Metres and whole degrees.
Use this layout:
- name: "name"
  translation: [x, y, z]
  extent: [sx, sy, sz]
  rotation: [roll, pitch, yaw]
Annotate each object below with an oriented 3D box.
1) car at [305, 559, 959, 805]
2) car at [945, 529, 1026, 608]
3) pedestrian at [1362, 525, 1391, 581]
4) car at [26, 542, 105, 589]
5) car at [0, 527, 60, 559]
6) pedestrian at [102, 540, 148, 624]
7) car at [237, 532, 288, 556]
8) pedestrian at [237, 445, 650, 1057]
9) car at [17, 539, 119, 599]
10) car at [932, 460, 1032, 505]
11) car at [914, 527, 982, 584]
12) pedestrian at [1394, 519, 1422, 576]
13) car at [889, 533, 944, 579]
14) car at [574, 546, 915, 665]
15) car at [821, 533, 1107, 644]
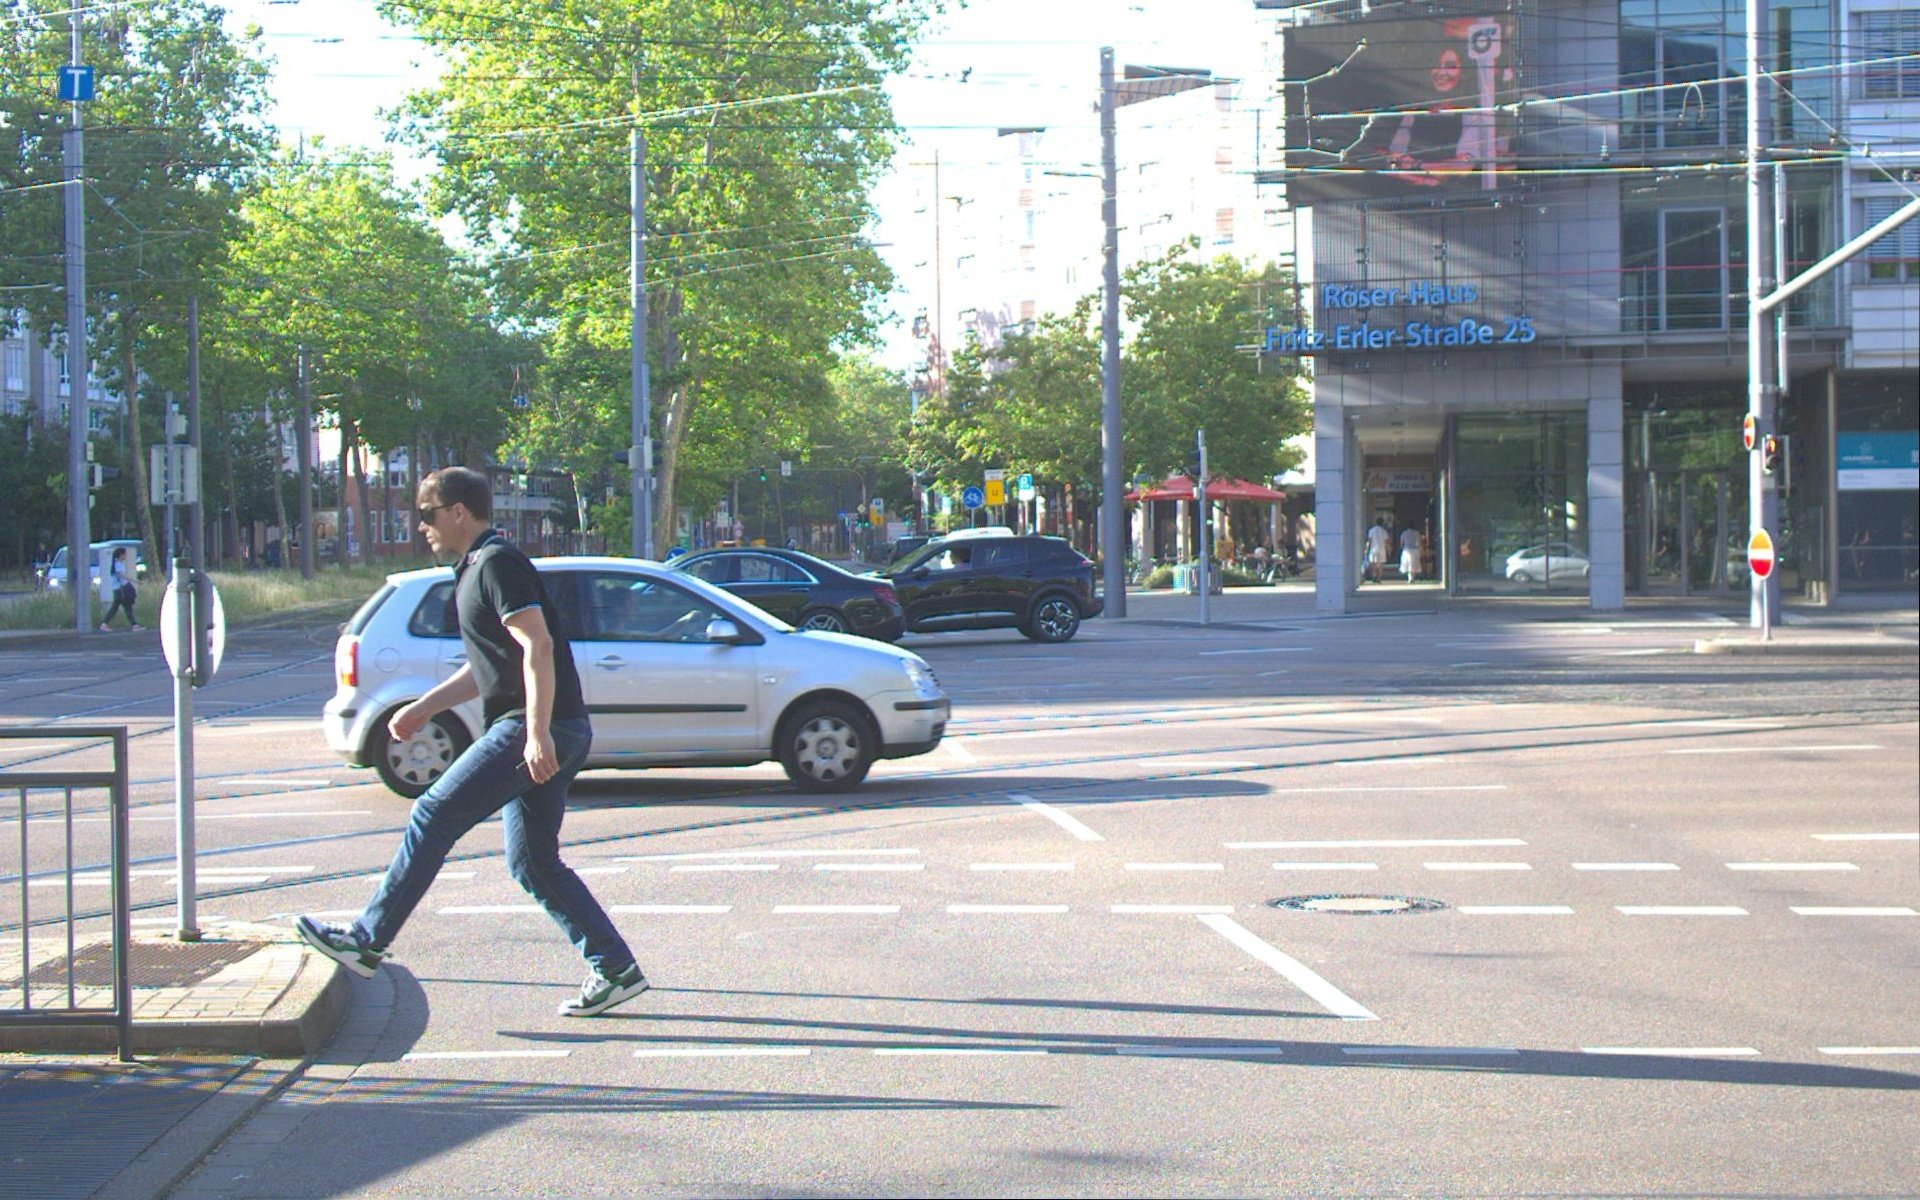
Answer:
- name: "car"
  translation: [-2.025, 0.477, 21.599]
  extent: [3.908, 1.429, 1.825]
  rotation: [-1, 1, -4]
- name: "car"
  translation: [0.637, -0.847, 89.700]
  extent: [1.993, 1.985, 4.000]
  rotation: [-1, 1, -1]
- name: "pedestrian"
  translation: [10.934, -1.240, 90.235]
  extent: [0.739, 1.460, 0.536]
  rotation: [-1, 1, 9]
- name: "car"
  translation: [-30.062, -1.172, 115.636]
  extent: [1.993, 1.503, 4.001]
  rotation: [-1, 1, -6]
- name: "car"
  translation: [-47.223, -2.862, 171.949]
  extent: [3.987, 1.547, 1.607]
  rotation: [1, 1, -31]
- name: "pedestrian"
  translation: [-15.272, -0.330, 62.890]
  extent: [0.754, 1.525, 0.508]
  rotation: [0, 1, -7]
- name: "car"
  translation: [-44.078, -3.562, 217.434]
  extent: [1.994, 1.503, 3.999]
  rotation: [-1, 1, 7]
- name: "pedestrian"
  translation: [-1.593, 0.442, 10.813]
  extent: [1.208, 1.816, 1.042]
  rotation: [-1, 0, -6]
- name: "car"
  translation: [-23.297, -0.827, 89.866]
  extent: [1.993, 1.503, 4.001]
  rotation: [-1, 1, -6]
- name: "car"
  translation: [0.919, -4.824, 141.215]
  extent: [3.764, 1.744, 1.780]
  rotation: [1, 0, 14]
- name: "car"
  translation: [-0.388, -1.368, 105.011]
  extent: [1.993, 1.656, 4.000]
  rotation: [-1, 1, -1]
- name: "pedestrian"
  translation: [11.726, -1.370, 89.940]
  extent: [0.706, 1.460, 0.384]
  rotation: [-1, 1, 9]
- name: "car"
  translation: [-1.598, -1.627, 126.728]
  extent: [1.993, 1.656, 4.000]
  rotation: [-1, 1, -1]
- name: "car"
  translation: [-2.835, 0.050, 44.768]
  extent: [4.239, 1.429, 1.796]
  rotation: [-1, 1, -10]
- name: "car"
  translation: [0.034, -0.180, 49.732]
  extent: [3.859, 1.502, 1.796]
  rotation: [-1, 1, -10]
